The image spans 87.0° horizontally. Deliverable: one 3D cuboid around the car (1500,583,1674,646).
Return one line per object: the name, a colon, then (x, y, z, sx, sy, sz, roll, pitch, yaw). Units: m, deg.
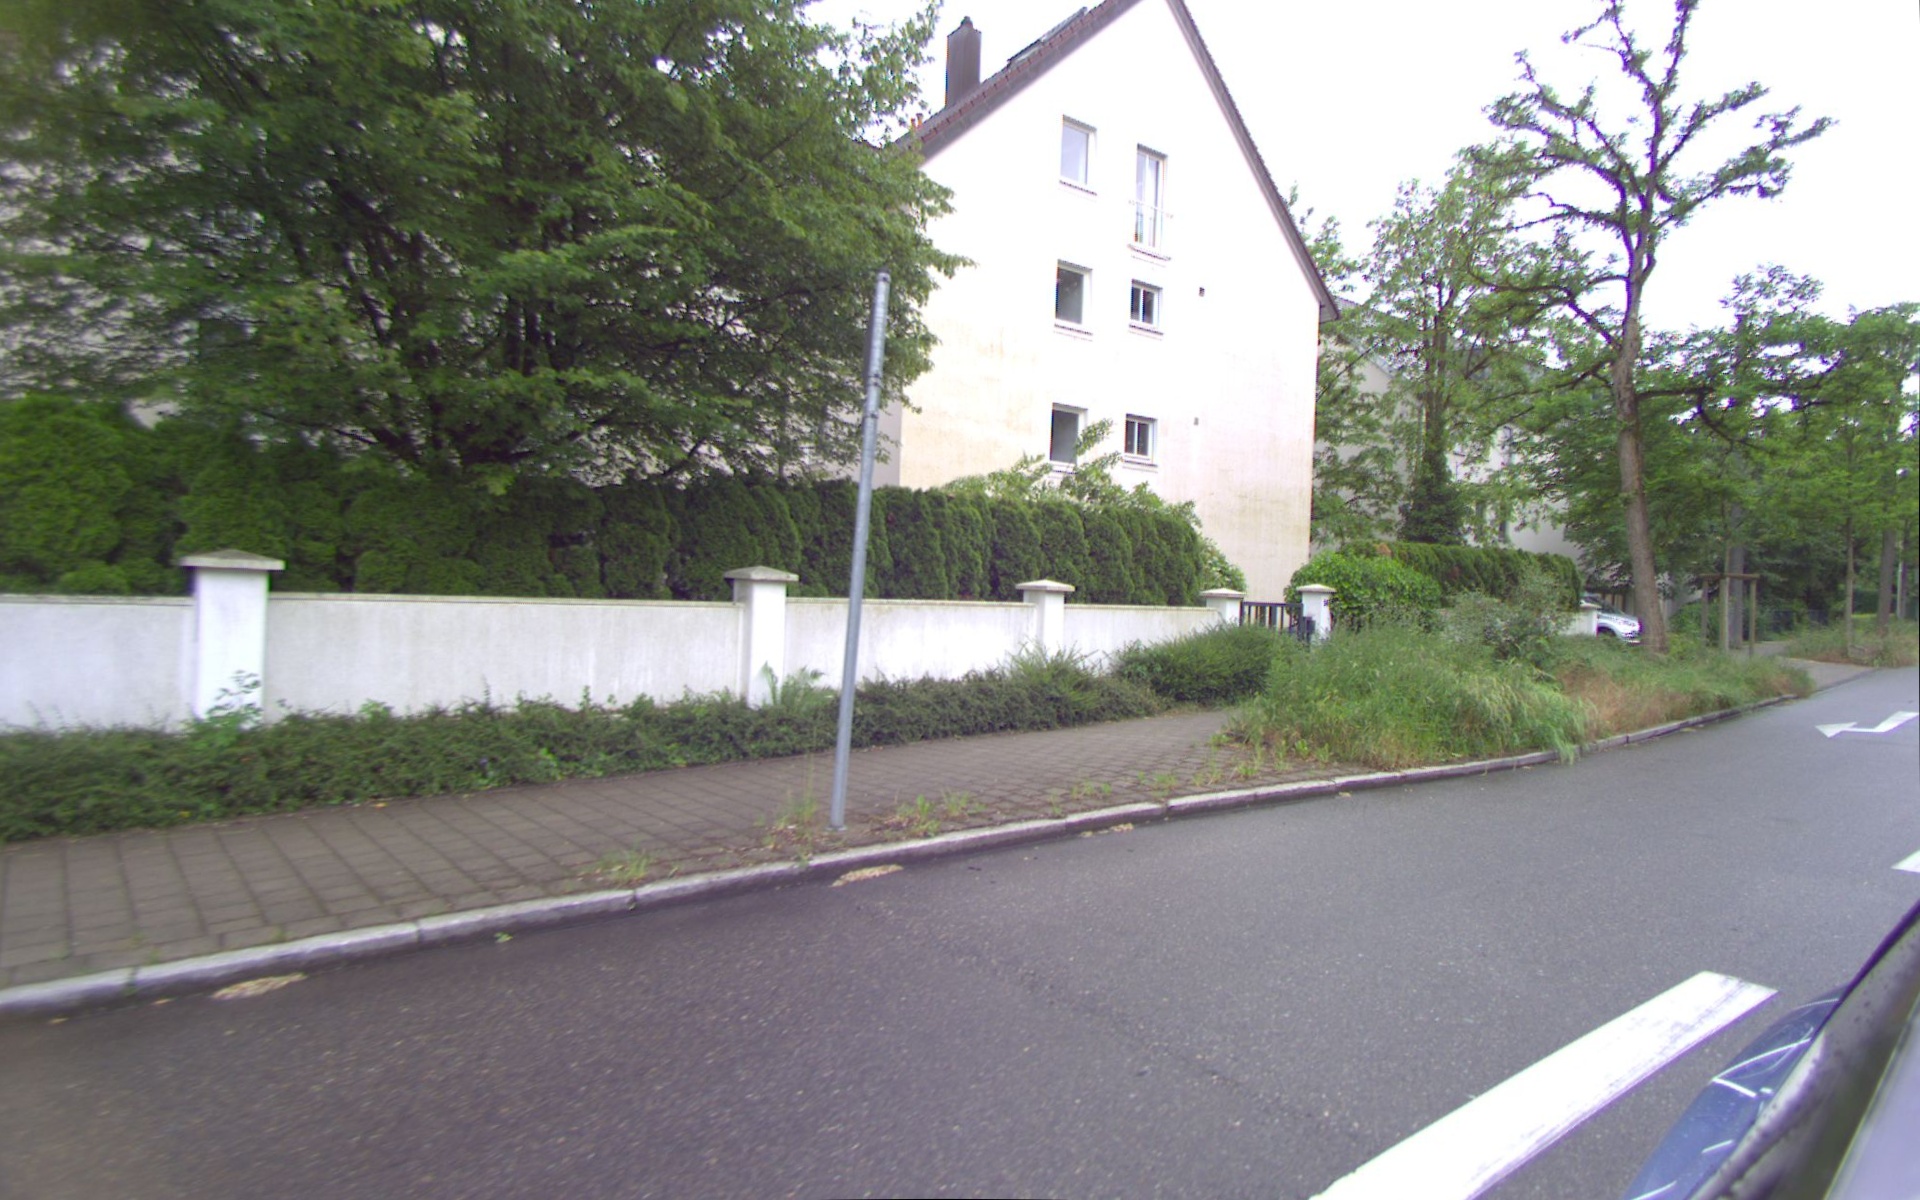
car: (19.737, 0.403, 32.034, 1.837, 1.840, 4.322, 1, 0, -31)
